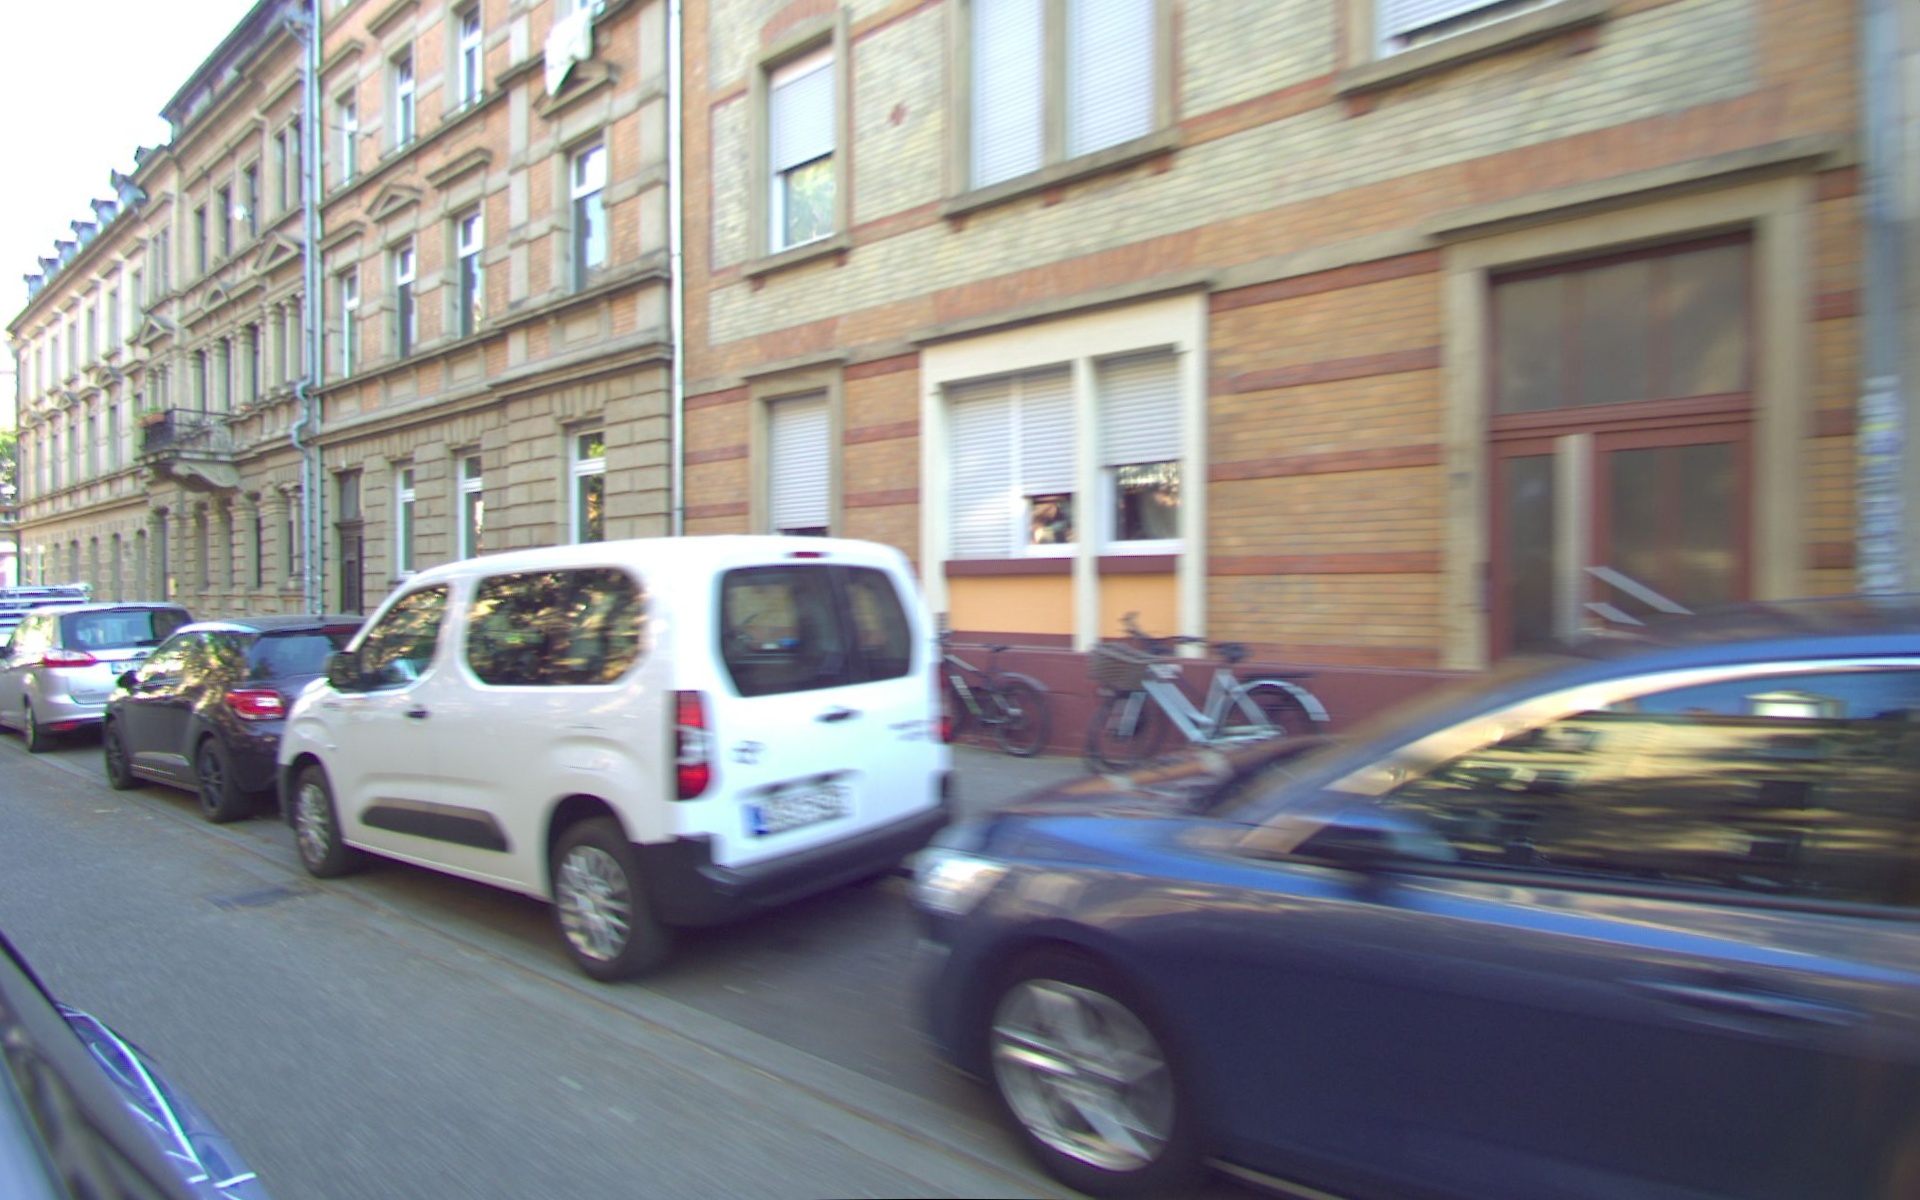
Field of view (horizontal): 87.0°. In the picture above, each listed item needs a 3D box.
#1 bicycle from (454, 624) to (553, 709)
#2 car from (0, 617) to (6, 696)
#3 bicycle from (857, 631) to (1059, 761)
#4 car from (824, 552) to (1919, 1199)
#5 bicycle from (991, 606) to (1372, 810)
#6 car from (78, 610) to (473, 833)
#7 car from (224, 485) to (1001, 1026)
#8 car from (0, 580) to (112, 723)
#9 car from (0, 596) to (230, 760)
[{"bbox_3d":[-6.325,0.896,13.986,1.724,1.104,0.459,-1,0,37],"label":"bicycle"},{"bbox_3d":[-20.060,1.111,19.733,3.821,1.502,1.621,-1,0,39],"label":"car"},{"bbox_3d":[-0.059,0.807,9.063,1.906,1.031,0.489,-1,0,38],"label":"bicycle"},{"bbox_3d":[1.801,0.670,2.302,4.239,1.484,1.730,-1,0,38],"label":"car"},{"bbox_3d":[1.540,0.709,7.417,2.661,1.290,0.623,-1,0,32],"label":"bicycle"},{"bbox_3d":[-5.863,0.839,8.518,3.819,1.432,1.621,-1,0,37],"label":"car"},{"bbox_3d":[-2.184,0.546,5.593,4.600,1.847,1.825,-1,0,38],"label":"car"},{"bbox_3d":[-15.625,0.785,16.448,4.739,2.072,1.923,-1,0,39],"label":"car"},{"bbox_3d":[-10.738,0.836,12.496,4.153,1.670,1.749,-1,0,39],"label":"car"}]
